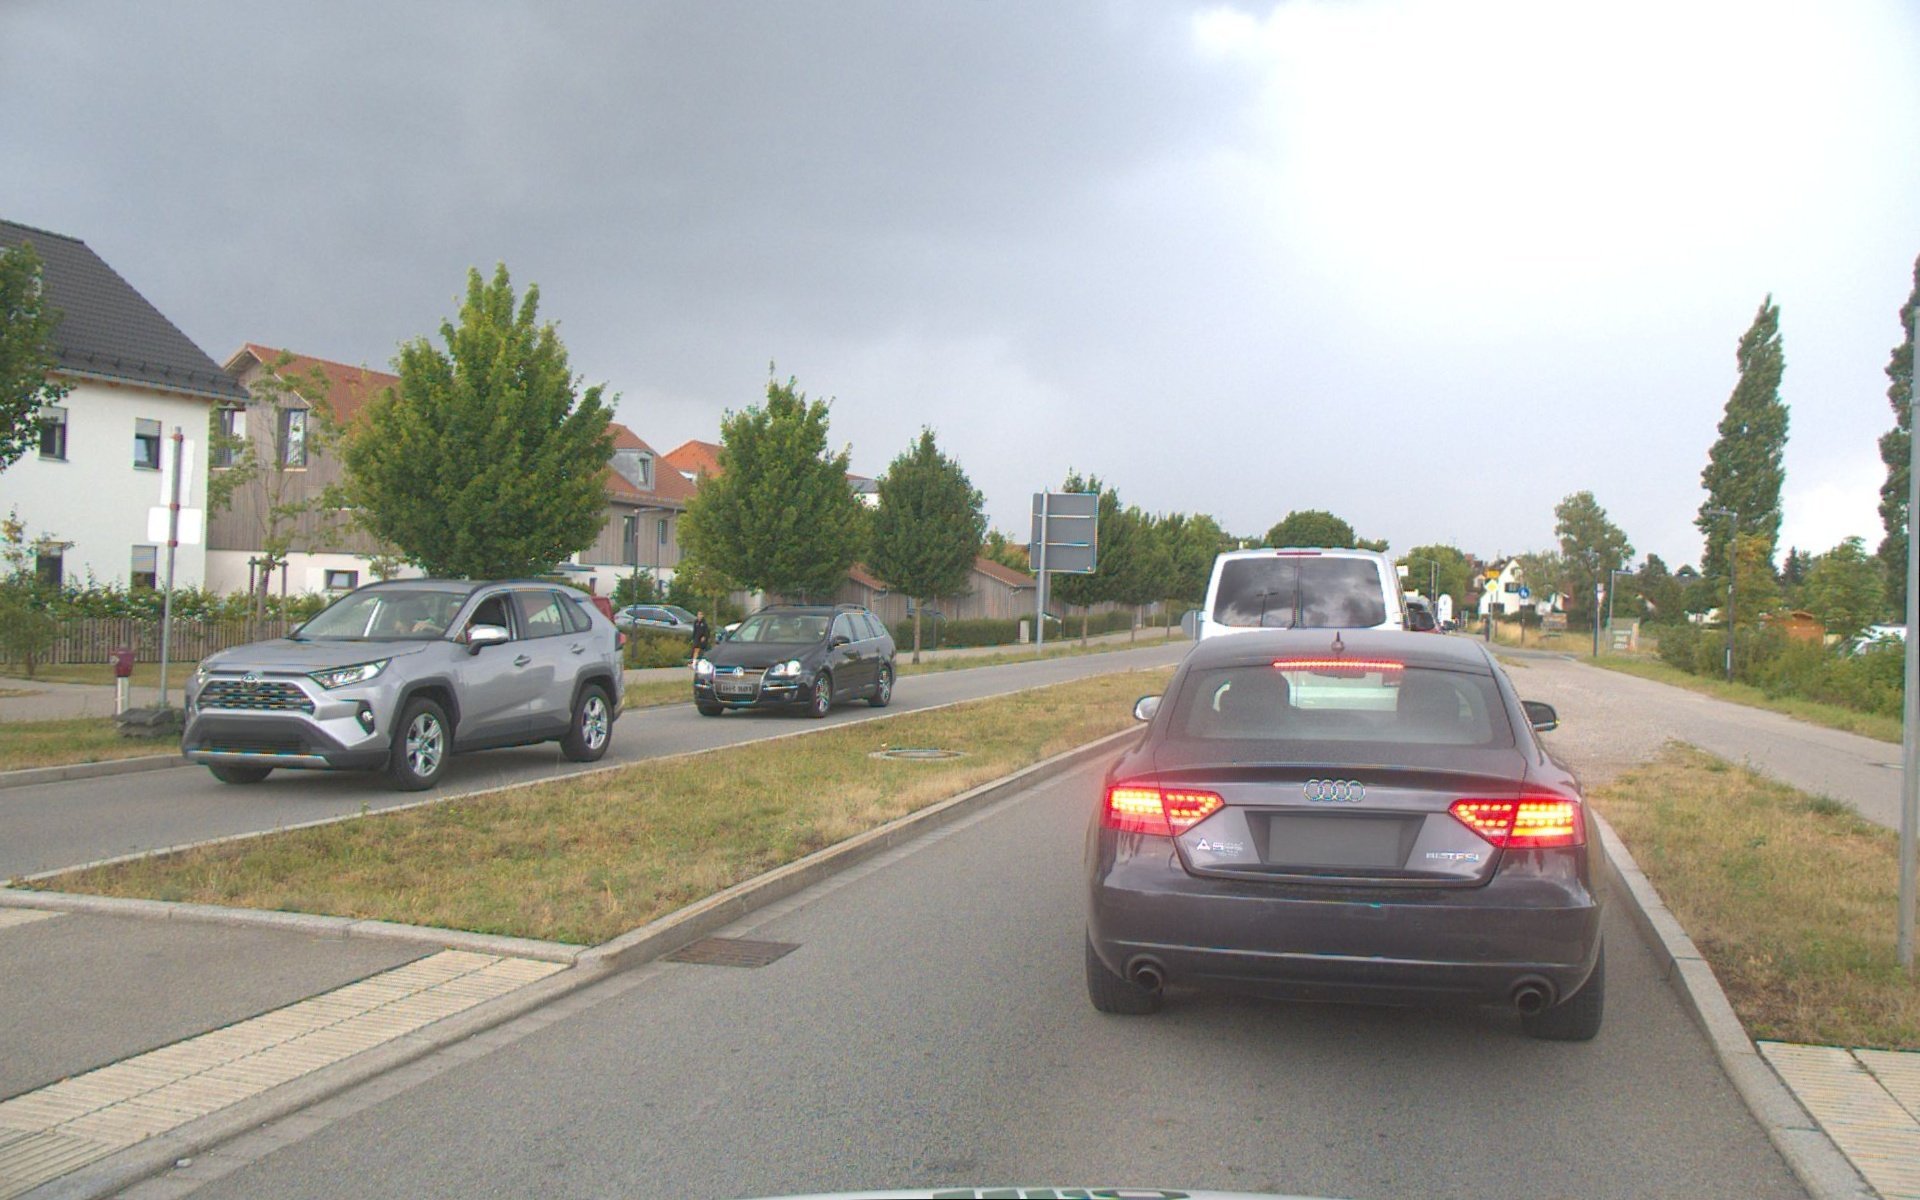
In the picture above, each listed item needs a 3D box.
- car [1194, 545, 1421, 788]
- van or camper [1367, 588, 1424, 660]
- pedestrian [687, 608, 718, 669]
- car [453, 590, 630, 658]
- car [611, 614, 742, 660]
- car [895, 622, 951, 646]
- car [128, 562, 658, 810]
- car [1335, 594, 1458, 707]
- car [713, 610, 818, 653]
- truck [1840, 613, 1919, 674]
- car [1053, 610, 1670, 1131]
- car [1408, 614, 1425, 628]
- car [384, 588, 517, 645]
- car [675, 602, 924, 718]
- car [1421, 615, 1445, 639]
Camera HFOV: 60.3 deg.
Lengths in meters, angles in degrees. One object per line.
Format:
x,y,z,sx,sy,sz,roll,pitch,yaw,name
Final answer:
3.298,0.538,15.553,1.827,1.968,4.003,0,0,13,car
22.005,1.242,83.546,2.569,3.382,6.825,2,-1,15,van or camper
-6.920,1.027,44.414,0.569,1.586,0.660,2,0,14,pedestrian
-11.845,0.653,46.856,4.436,1.709,2.001,2,0,19,car
-9.397,1.213,54.982,3.831,1.338,1.844,2,0,13,car
-1.756,1.597,78.597,2.419,1.046,1.186,2,0,10,car
-4.562,0.616,14.211,1.951,1.733,4.637,1,0,17,car
6.916,0.744,26.179,1.739,1.646,4.003,0,0,15,car
-7.572,1.194,64.444,3.650,1.508,1.688,2,0,13,car
32.086,1.488,54.858,4.694,1.905,2.002,2,0,11,truck
1.640,0.789,6.957,1.746,1.416,4.136,2,0,13,car
46.491,2.148,168.346,1.579,1.294,3.463,2,0,16,car
-17.155,0.571,55.946,1.952,1.803,4.465,2,-1,20,car
-2.092,0.764,22.993,1.717,1.441,4.456,0,0,20,car
33.792,1.917,118.186,1.579,1.659,3.618,2,0,16,car
